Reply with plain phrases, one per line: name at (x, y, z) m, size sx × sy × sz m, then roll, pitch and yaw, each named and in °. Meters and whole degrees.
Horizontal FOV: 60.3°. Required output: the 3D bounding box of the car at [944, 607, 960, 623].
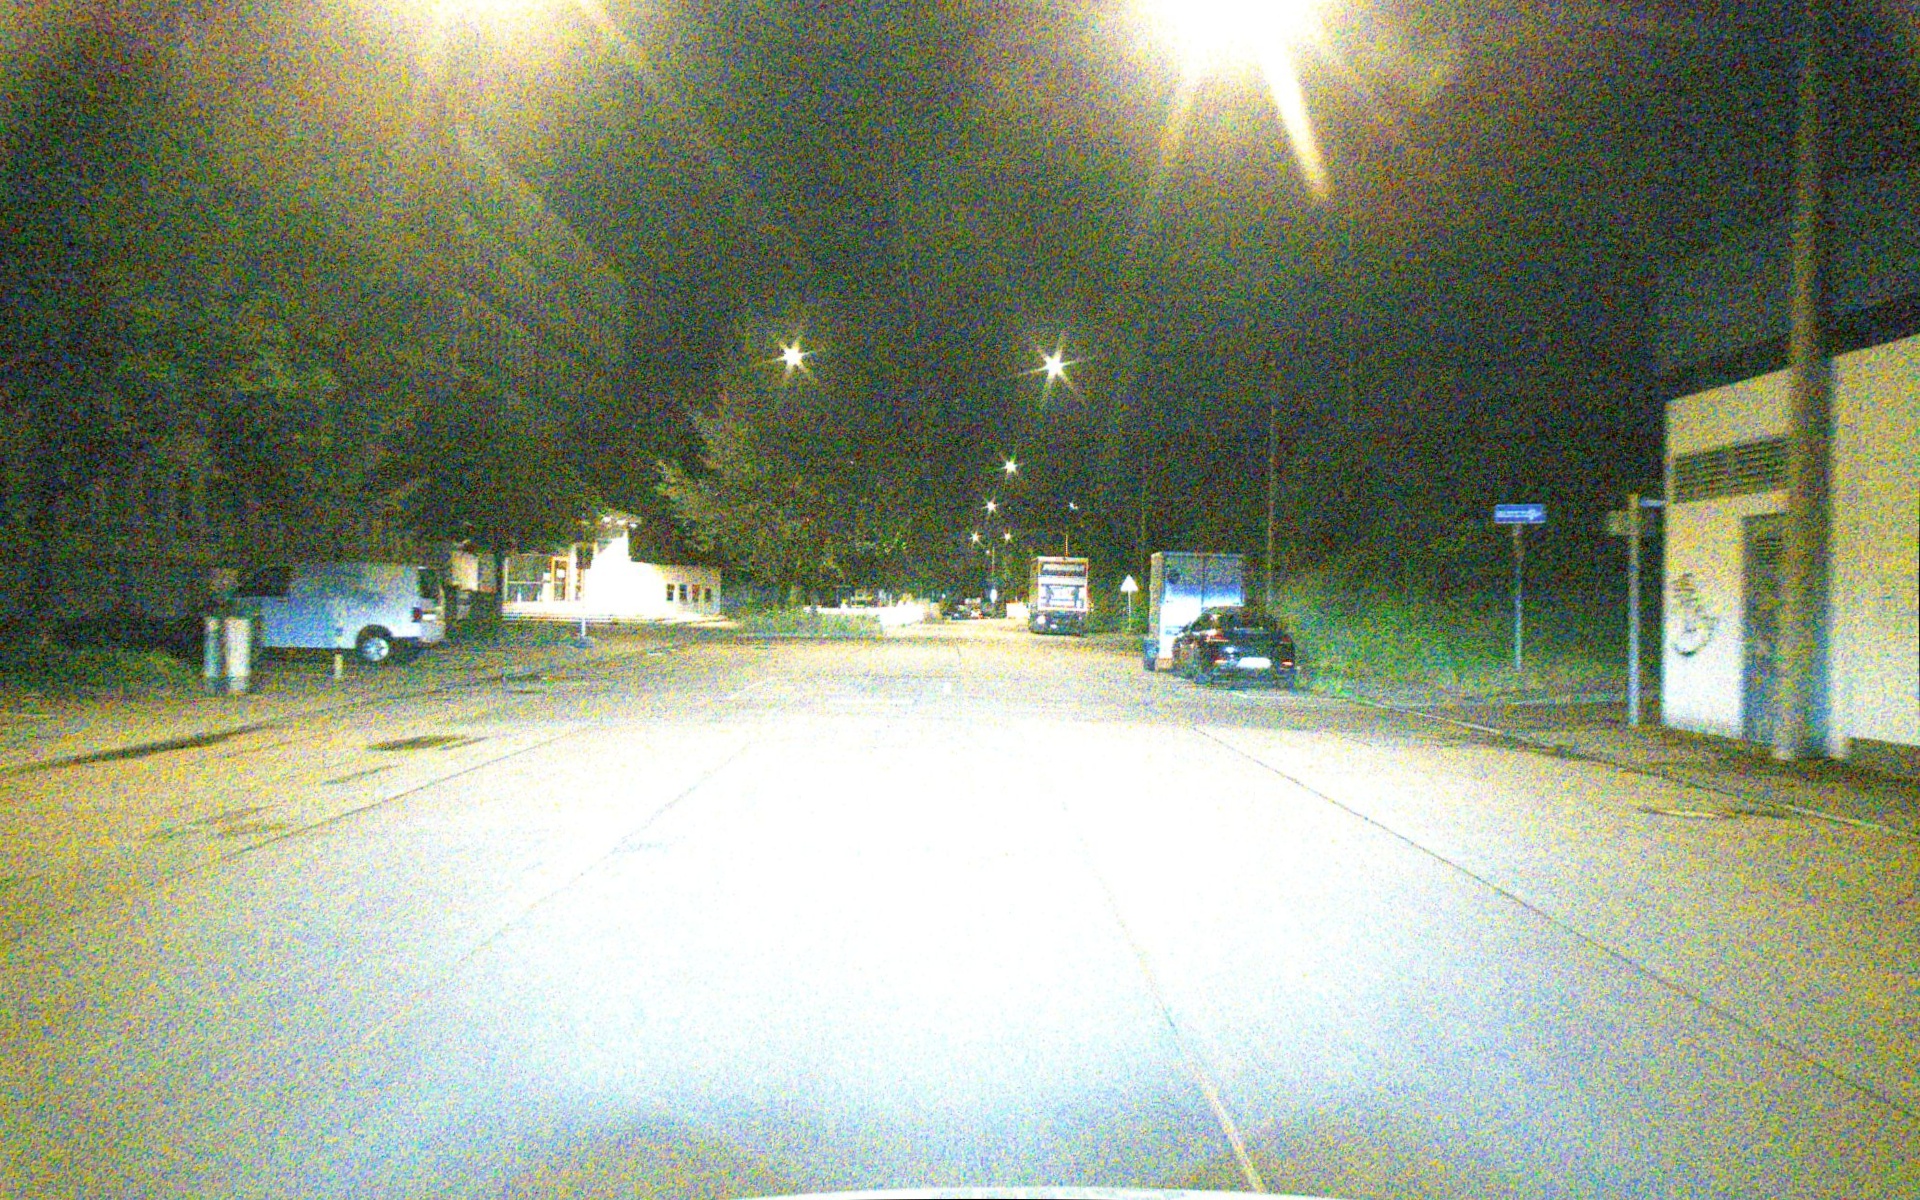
car at (-0.873, 1.628, 179.811) m, size 1.685 × 1.690 × 3.999 m, roll 2°, pitch -2°, yaw 0°

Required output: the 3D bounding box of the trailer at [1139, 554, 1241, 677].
trailer at (5.387, 0.339, 39.121) m, size 1.952 × 2.697 × 4.001 m, roll 2°, pitch 0°, yaw 2°

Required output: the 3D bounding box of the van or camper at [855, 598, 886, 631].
van or camper at (-8.684, 1.439, 161.553) m, size 2.467 × 3.148 × 7.445 m, roll -1°, pitch -1°, yaw 1°

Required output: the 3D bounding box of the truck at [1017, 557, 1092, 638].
truck at (4.911, -0.084, 87.513) m, size 3.256 × 3.936 × 9.326 m, roll 2°, pitch -1°, yaw 0°

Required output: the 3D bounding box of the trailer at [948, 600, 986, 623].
trailer at (0.695, 1.164, 164.895) m, size 1.541 × 2.198 × 5.174 m, roll 0°, pitch -1°, yaw -27°

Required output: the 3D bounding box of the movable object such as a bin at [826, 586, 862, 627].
movable object such as a bin at (-7.350, 0.432, 104.286) m, size 1.526 × 2.511 × 2.822 m, roll 0°, pitch -1°, yaw -21°

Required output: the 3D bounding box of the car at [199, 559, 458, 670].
car at (-12.523, 0.273, 33.010) m, size 4.342 × 2.006 × 2.000 m, roll 2°, pitch 0°, yaw -1°

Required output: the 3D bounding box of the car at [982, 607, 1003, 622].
car at (4.150, 1.837, 208.289) m, size 1.684 × 1.853 × 4.002 m, roll 1°, pitch -2°, yaw 15°

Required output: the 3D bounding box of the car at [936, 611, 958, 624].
car at (-1.804, 2.462, 232.267) m, size 1.951 × 1.729 × 4.209 m, roll 1°, pitch -2°, yaw 15°

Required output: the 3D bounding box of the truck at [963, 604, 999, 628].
truck at (3.137, 2.442, 246.603) m, size 1.953 × 3.463 × 8.975 m, roll 2°, pitch 0°, yaw 23°

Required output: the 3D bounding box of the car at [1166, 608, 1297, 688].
car at (5.365, 0.908, 33.205) m, size 1.692 × 1.411 × 4.674 m, roll 2°, pitch 0°, yaw -2°

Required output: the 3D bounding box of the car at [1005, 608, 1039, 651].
car at (3.947, 1.806, 105.289) m, size 2.065 × 2.560 × 6.373 m, roll 2°, pitch 0°, yaw 2°

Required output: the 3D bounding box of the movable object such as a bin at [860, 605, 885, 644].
movable object such as a bin at (-6.547, 1.843, 123.960) m, size 1.541 × 2.782 × 3.695 m, roll -2°, pitch 0°, yaw -7°

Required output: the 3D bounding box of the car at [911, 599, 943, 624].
car at (-4.237, 1.483, 216.422) m, size 2.465 × 3.227 × 7.143 m, roll -1°, pitch -1°, yaw 13°
